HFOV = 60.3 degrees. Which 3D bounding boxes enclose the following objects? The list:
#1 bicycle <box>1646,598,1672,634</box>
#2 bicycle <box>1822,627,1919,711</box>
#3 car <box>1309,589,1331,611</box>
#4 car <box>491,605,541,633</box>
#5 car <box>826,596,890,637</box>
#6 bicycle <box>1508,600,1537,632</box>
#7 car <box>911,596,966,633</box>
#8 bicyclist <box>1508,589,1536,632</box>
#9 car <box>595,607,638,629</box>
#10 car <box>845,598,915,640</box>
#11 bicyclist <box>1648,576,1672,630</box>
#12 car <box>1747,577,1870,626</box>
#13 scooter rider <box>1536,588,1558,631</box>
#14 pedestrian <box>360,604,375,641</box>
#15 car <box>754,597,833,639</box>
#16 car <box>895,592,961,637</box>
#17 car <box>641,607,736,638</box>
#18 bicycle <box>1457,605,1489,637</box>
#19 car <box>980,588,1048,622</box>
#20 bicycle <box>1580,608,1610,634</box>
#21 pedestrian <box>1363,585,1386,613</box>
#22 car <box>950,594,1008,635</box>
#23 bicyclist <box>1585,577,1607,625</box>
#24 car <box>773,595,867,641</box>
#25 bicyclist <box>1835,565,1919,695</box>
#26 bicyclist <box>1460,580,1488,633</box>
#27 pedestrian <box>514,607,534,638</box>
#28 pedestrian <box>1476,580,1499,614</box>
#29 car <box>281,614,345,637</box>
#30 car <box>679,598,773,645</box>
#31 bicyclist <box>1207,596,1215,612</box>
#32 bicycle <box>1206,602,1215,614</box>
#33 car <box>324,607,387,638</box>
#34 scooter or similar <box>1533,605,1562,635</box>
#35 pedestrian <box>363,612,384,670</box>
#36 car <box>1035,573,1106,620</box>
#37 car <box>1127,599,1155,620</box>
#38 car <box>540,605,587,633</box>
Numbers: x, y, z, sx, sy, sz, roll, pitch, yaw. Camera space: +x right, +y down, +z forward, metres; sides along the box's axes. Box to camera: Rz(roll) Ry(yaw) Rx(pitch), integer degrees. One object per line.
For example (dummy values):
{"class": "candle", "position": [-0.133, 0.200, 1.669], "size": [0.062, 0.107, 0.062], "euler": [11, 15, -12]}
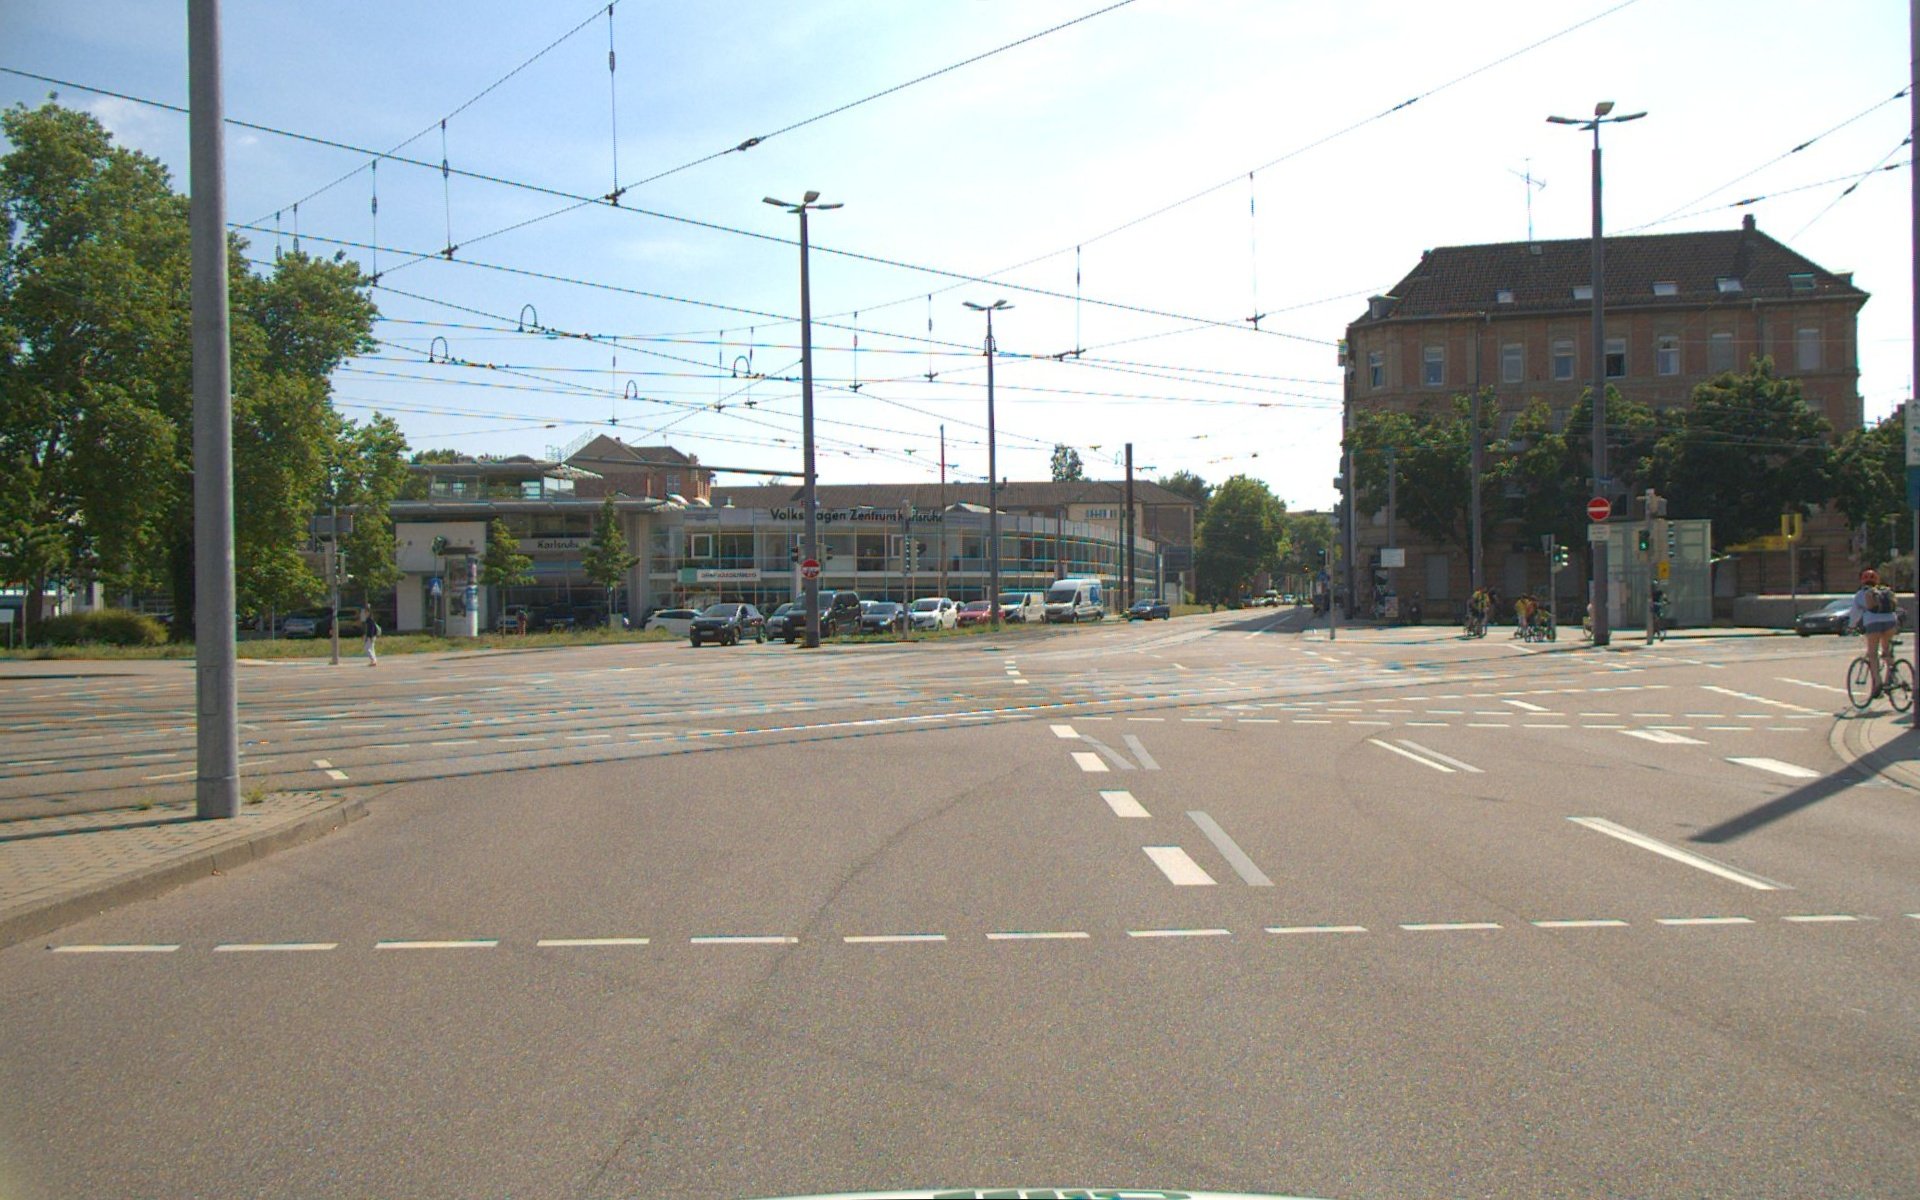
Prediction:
{"class": "bicycle", "position": [21.797, 0.487, 51.598], "size": [0.653, 1.088, 2.464], "euler": [1, 0, 21]}
{"class": "bicycle", "position": [12.570, 0.918, 22.567], "size": [0.699, 1.033, 2.022], "euler": [-3, 0, 6]}
{"class": "car", "position": [35.457, -0.003, 163.036], "size": [2.063, 2.049, 4.003], "euler": [-1, 0, 13]}
{"class": "car", "position": [-25.727, 1.089, 95.955], "size": [1.954, 1.512, 3.997], "euler": [-1, 0, -3]}
{"class": "car", "position": [-4.552, 0.776, 74.355], "size": [1.616, 1.769, 4.203], "euler": [-1, -1, 15]}
{"class": "bicycle", "position": [19.973, 0.561, 58.759], "size": [0.907, 1.088, 2.843], "euler": [1, 0, 17]}
{"class": "car", "position": [-1.074, 0.786, 86.252], "size": [1.768, 1.878, 4.203], "euler": [-1, -1, 15]}
{"class": "bicyclist", "position": [20.025, 0.363, 58.925], "size": [0.907, 1.477, 1.252], "euler": [1, 0, 17]}
{"class": "car", "position": [-19.865, 1.031, 95.725], "size": [1.794, 1.216, 3.997], "euler": [1, -1, -3]}
{"class": "car", "position": [-3.221, 0.780, 67.424], "size": [1.854, 1.616, 4.003], "euler": [-1, -1, 13]}
{"class": "bicyclist", "position": [21.634, 0.094, 51.126], "size": [0.653, 1.652, 0.783], "euler": [1, 0, 21]}
{"class": "car", "position": [29.388, 0.034, 57.299], "size": [3.931, 1.611, 1.628], "euler": [-1, 0, -22]}
{"class": "scooter rider", "position": [19.548, 0.319, 55.098], "size": [0.575, 1.422, 0.406], "euler": [1, -1, -2]}
{"class": "pedestrian", "position": [-26.045, 0.976, 72.678], "size": [0.384, 1.624, 0.464], "euler": [0, -1, 22]}
{"class": "car", "position": [-6.709, 0.753, 66.962], "size": [1.854, 1.616, 4.002], "euler": [-1, -1, 15]}
{"class": "car", "position": [-1.426, 0.688, 74.777], "size": [1.854, 1.950, 4.203], "euler": [-1, -1, 15]}
{"class": "car", "position": [-13.659, 1.125, 83.310], "size": [4.486, 1.461, 1.445], "euler": [1, -1, 12]}
{"class": "bicycle", "position": [18.353, 0.753, 59.208], "size": [0.907, 1.088, 2.748], "euler": [1, -1, 14]}
{"class": "car", "position": [2.964, 0.268, 88.988], "size": [2.140, 1.710, 5.030], "euler": [-1, 0, 21]}
{"class": "bicycle", "position": [22.080, 0.722, 57.528], "size": [0.490, 0.881, 1.588], "euler": [1, 0, 4]}
{"class": "pedestrian", "position": [21.852, -0.060, 87.196], "size": [0.704, 1.458, 0.876], "euler": [-1, 0, -34]}
{"class": "car", "position": [0.959, 0.731, 81.752], "size": [1.854, 1.950, 4.203], "euler": [-1, -1, 15]}
{"class": "bicyclist", "position": [22.100, 0.043, 57.475], "size": [0.490, 1.649, 0.650], "euler": [1, 0, 3]}
{"class": "car", "position": [-5.074, 0.639, 60.754], "size": [1.919, 1.615, 4.719], "euler": [-1, 0, 15]}
{"class": "bicyclist", "position": [12.535, 0.406, 22.564], "size": [0.699, 1.698, 0.875], "euler": [-3, -1, 6]}
{"class": "bicyclist", "position": [18.309, 0.230, 58.955], "size": [0.907, 1.852, 1.053], "euler": [1, -1, 15]}
{"class": "pedestrian", "position": [-23.497, 1.210, 89.156], "size": [0.935, 1.608, 0.534], "euler": [1, -1, -5]}
{"class": "pedestrian", "position": [22.858, -0.122, 71.661], "size": [0.608, 1.458, 0.702], "euler": [2, -1, -39]}
{"class": "car", "position": [-37.528, 1.495, 96.015], "size": [1.952, 1.266, 4.001], "euler": [1, -1, 3]}
{"class": "car", "position": [-8.436, 0.801, 60.094], "size": [1.851, 1.616, 4.213], "euler": [-1, -1, 15]}
{"class": "bicyclist", "position": [25.867, 0.413, 170.598], "size": [0.736, 1.595, 1.088], "euler": [1, -1, 12]}
{"class": "bicycle", "position": [25.859, 0.821, 170.570], "size": [0.736, 1.215, 2.841], "euler": [1, -1, 12]}
{"class": "car", "position": [-35.226, 1.318, 96.486], "size": [1.952, 1.713, 4.001], "euler": [1, -1, 3]}
{"class": "scooter or similar", "position": [19.545, 0.671, 55.051], "size": [0.575, 0.993, 0.991], "euler": [1, -1, -2]}
{"class": "pedestrian", "position": [-16.824, 1.177, 47.445], "size": [0.450, 1.633, 0.395], "euler": [2, -1, -38]}
{"class": "car", "position": [6.481, -0.182, 96.262], "size": [2.164, 2.621, 5.871], "euler": [1, -1, 24]}
{"class": "car", "position": [12.528, 0.659, 114.224], "size": [1.355, 1.439, 3.014], "euler": [1, -1, 18]}
{"class": "car", "position": [-23.000, 1.101, 96.013], "size": [1.954, 1.512, 3.997], "euler": [1, -1, -3]}
